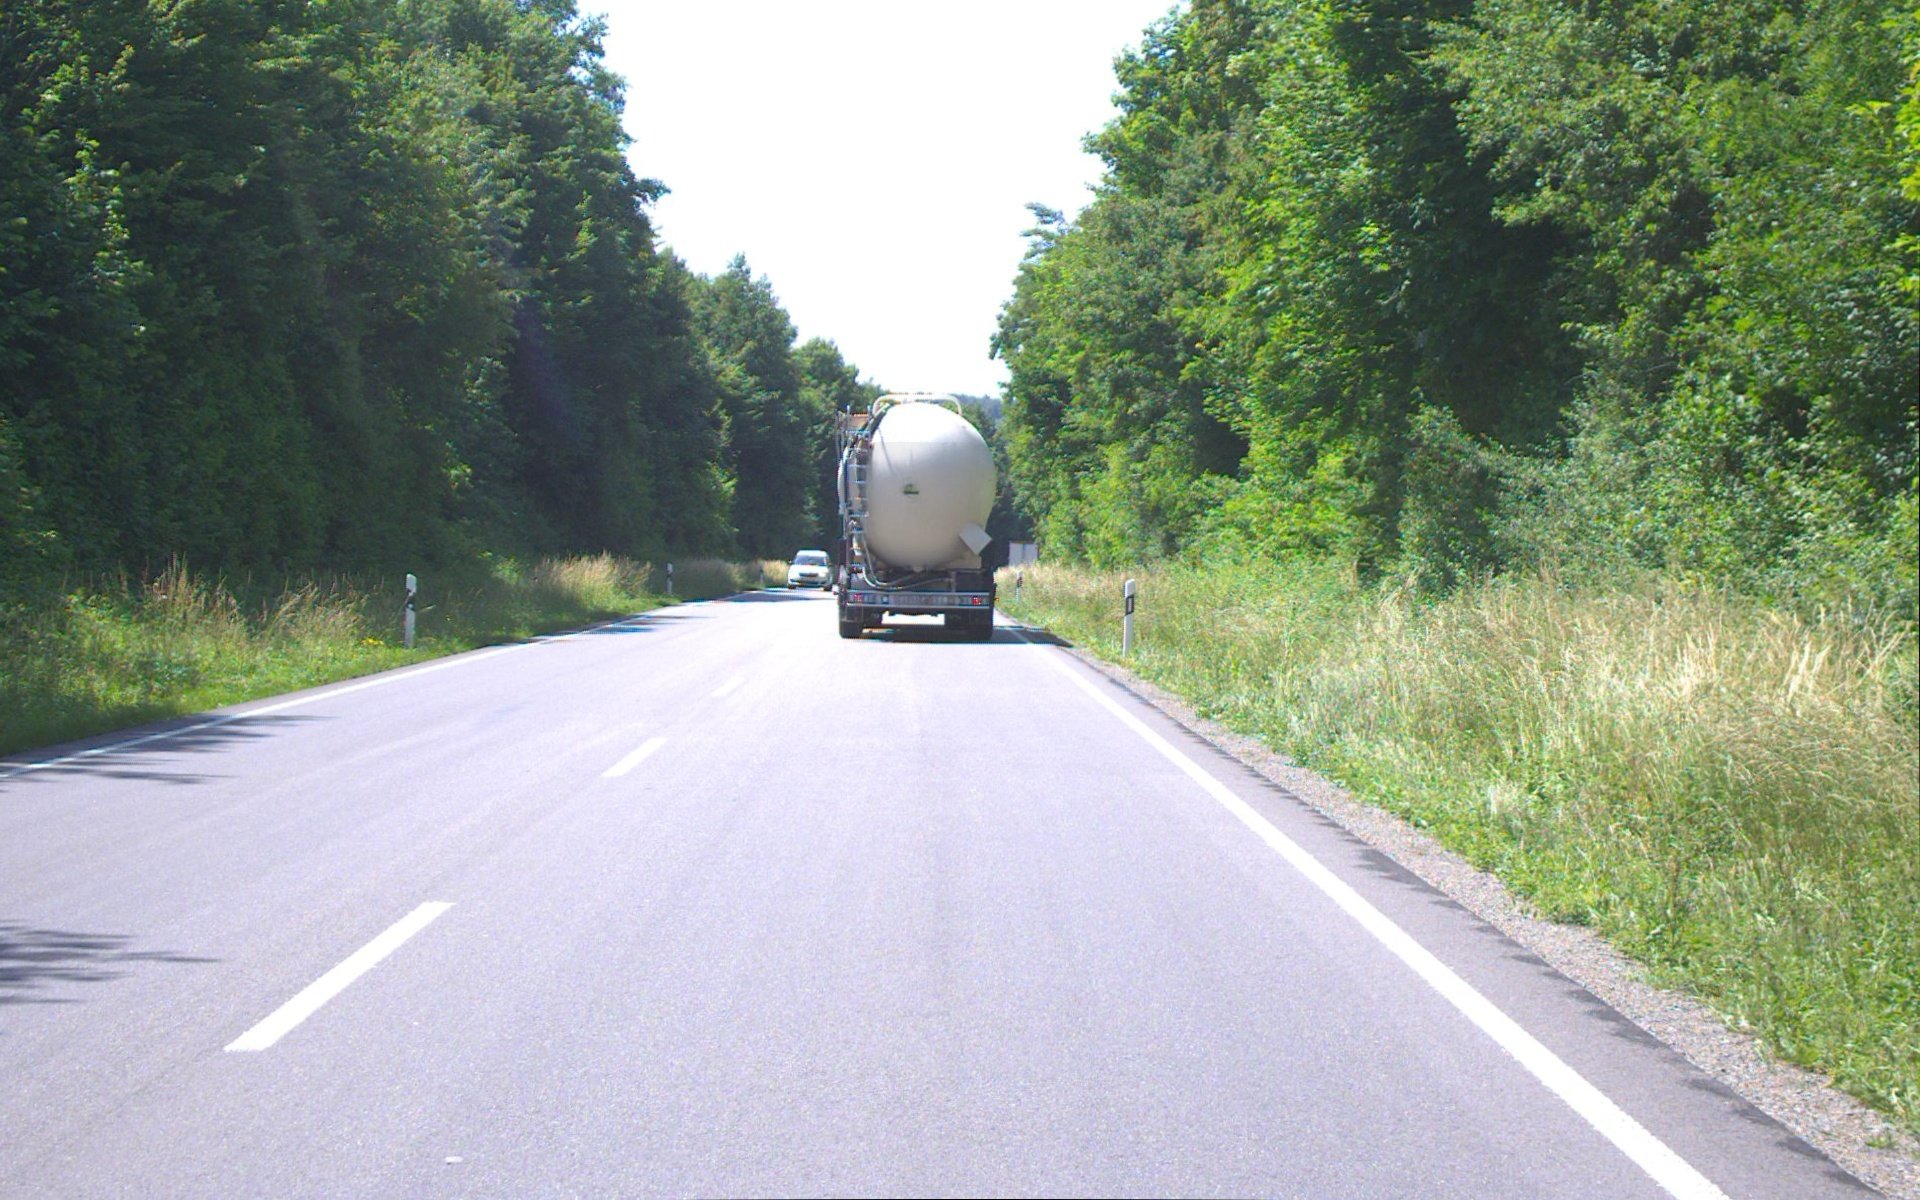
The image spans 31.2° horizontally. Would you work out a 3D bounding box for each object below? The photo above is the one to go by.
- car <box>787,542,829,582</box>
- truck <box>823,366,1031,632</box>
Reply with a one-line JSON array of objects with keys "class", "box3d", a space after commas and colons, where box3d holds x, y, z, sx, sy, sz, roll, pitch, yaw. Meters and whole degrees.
[{"class": "car", "box3d": [-6.108, -1.532, 138.440, 1.512, 1.587, 3.793, 1, 1, 0]}, {"class": "truck", "box3d": [-0.628, -1.638, 61.382, 3.049, 3.984, 15.637, 3, 0, -1]}]
